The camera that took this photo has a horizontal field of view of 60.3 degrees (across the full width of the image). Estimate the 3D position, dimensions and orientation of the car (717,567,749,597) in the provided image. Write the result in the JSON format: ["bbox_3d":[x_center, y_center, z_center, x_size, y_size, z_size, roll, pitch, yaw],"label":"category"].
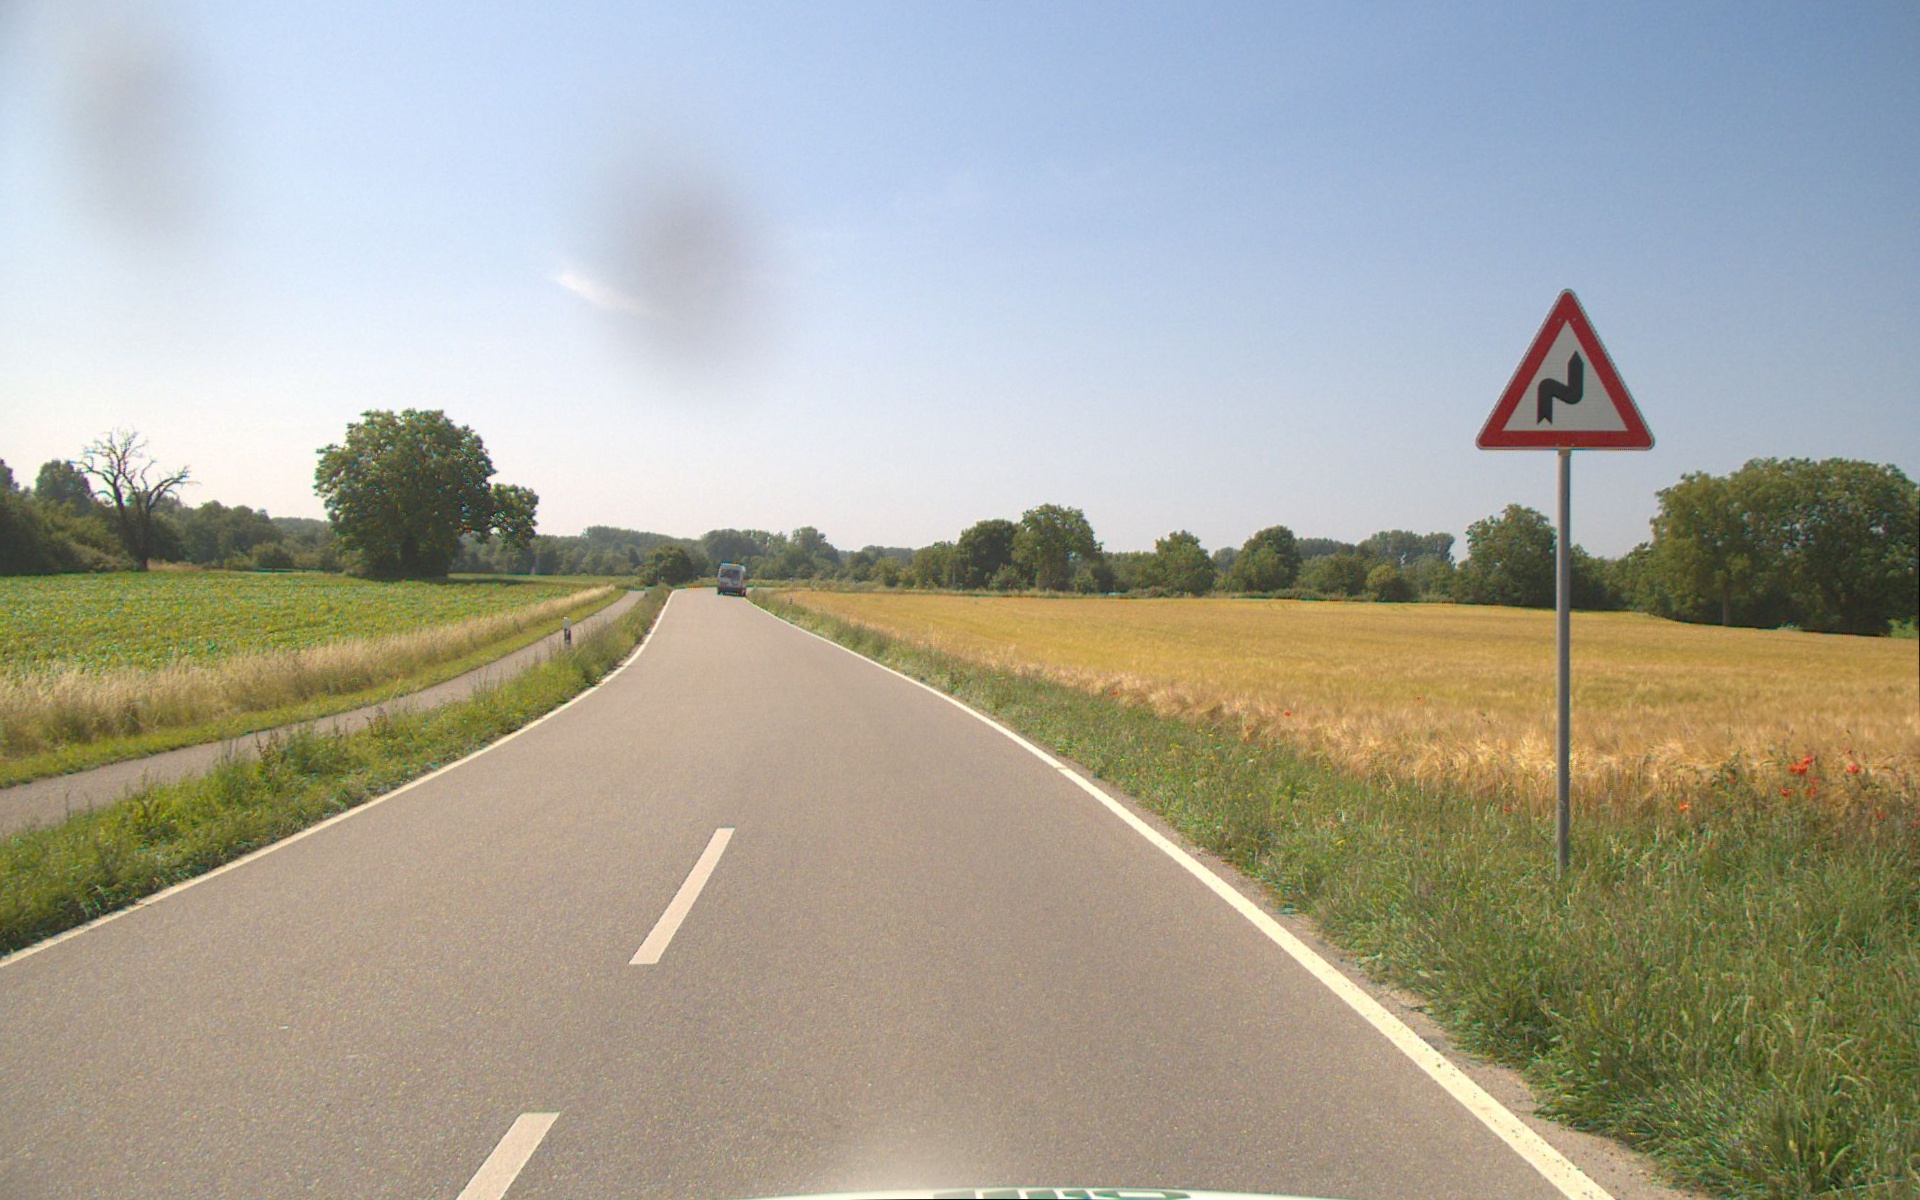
[{"bbox_3d":[-18.508,-1.486,134.859,2.062,2.408,5.683,1,1,-3],"label":"car"}]
